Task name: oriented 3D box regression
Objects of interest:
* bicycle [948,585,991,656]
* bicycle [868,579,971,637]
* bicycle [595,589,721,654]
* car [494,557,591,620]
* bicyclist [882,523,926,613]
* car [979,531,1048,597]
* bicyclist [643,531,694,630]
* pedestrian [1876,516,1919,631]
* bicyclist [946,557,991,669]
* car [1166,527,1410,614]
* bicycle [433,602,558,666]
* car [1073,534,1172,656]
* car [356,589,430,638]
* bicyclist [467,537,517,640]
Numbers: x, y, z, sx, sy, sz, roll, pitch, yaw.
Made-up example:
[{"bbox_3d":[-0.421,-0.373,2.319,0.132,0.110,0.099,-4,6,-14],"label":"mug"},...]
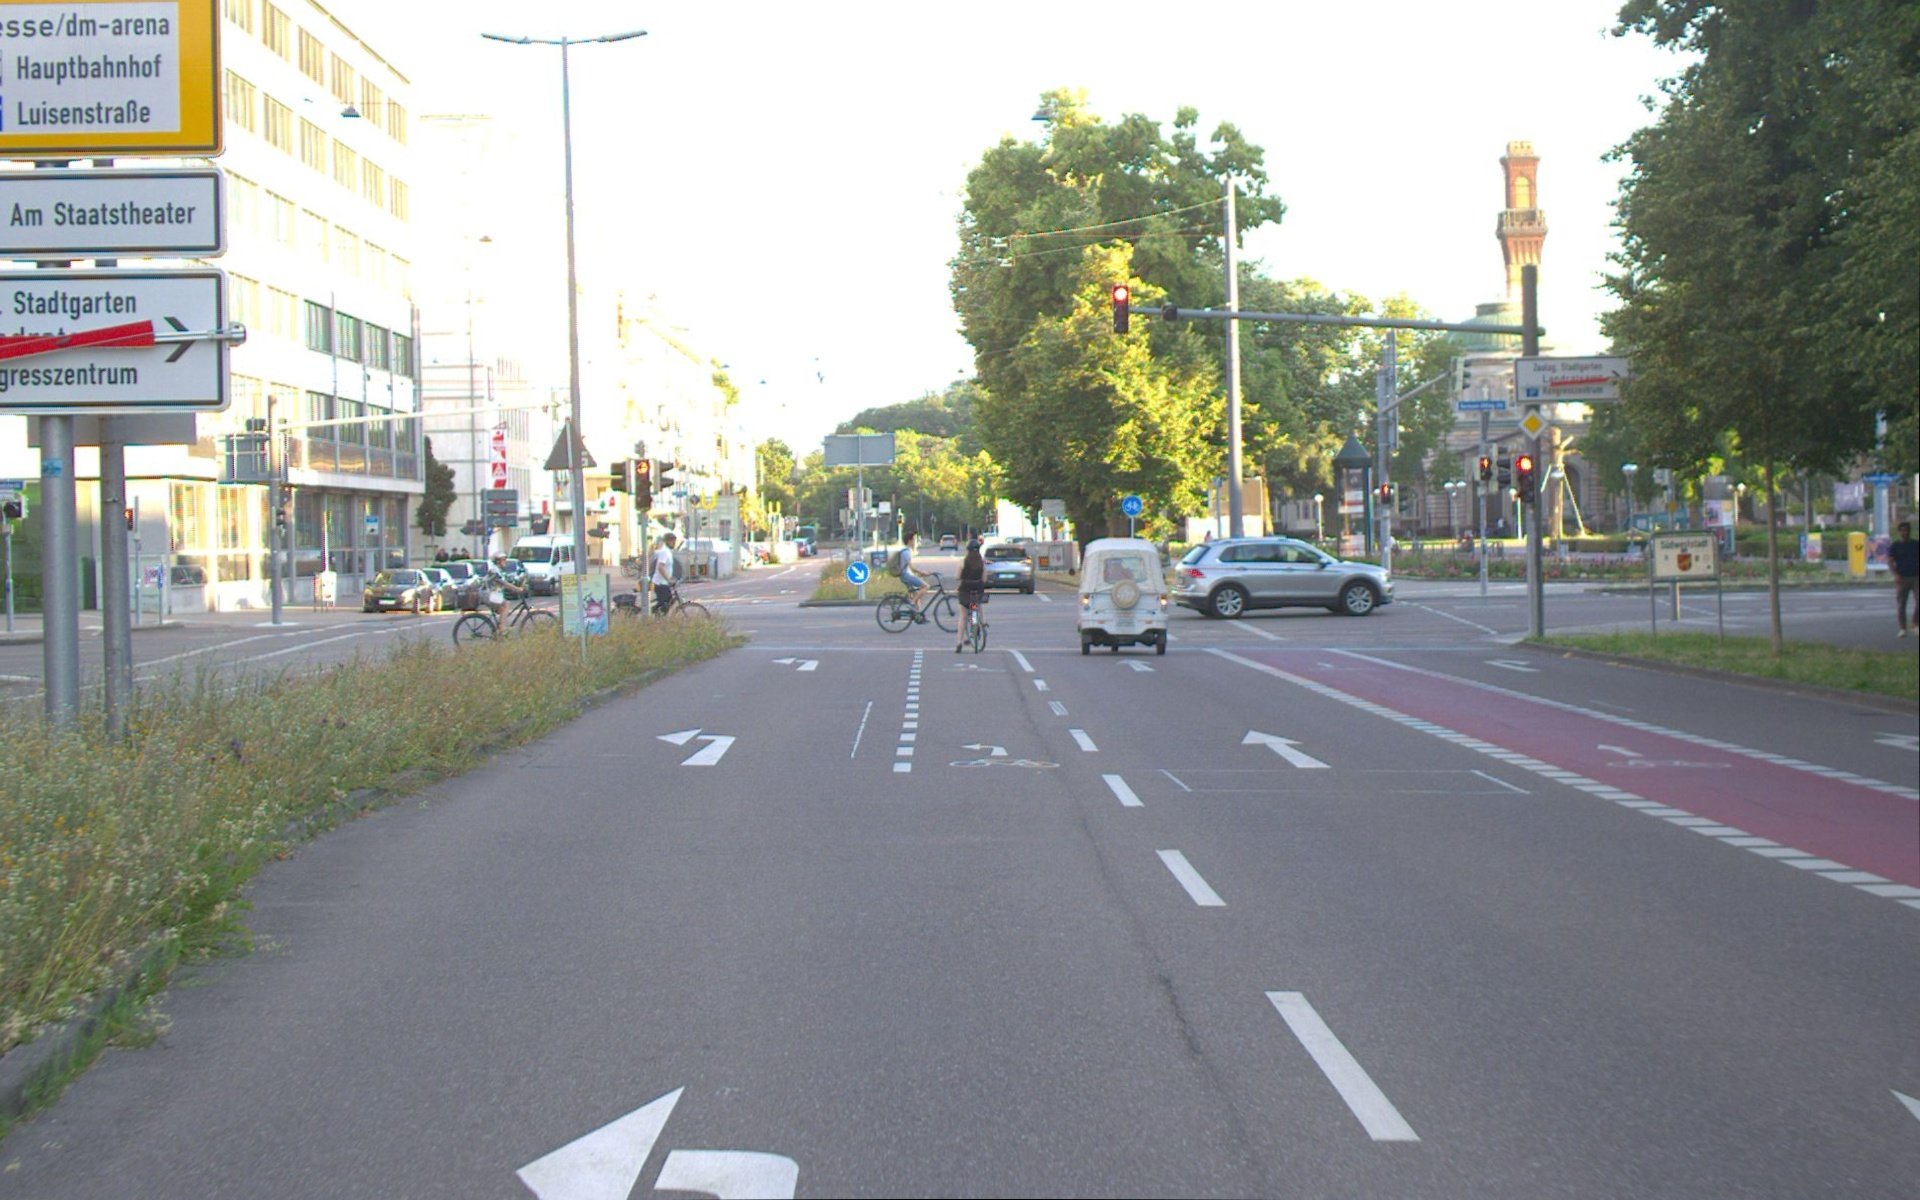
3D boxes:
[{"bbox_3d":[0.138,0.307,53.164,0.637,1.065,2.069,0,1,-1],"label":"bicycle"},{"bbox_3d":[-0.756,0.144,64.968,1.897,1.065,0.731,-1,0,3],"label":"bicycle"},{"bbox_3d":[-5.193,0.368,59.232,2.058,1.065,0.787,-1,0,2],"label":"bicycle"},{"bbox_3d":[-17.185,-0.457,141.880,2.177,2.377,5.986,-2,-2,11],"label":"car"},{"bbox_3d":[-1.053,-0.606,64.983,0.746,1.687,0.715,-2,0,3],"label":"bicyclist"},{"bbox_3d":[1.675,-1.144,108.913,1.993,2.007,4.000,-2,1,-1],"label":"car"},{"bbox_3d":[-5.021,-0.337,59.232,0.746,1.687,0.765,-2,0,2],"label":"bicyclist"},{"bbox_3d":[14.124,-0.394,51.217,0.695,1.687,0.748,-2,0,-2],"label":"pedestrian"},{"bbox_3d":[0.125,0.200,52.848,0.628,1.687,0.748,-2,0,-1],"label":"bicyclist"},{"bbox_3d":[6.627,-0.605,69.712,4.532,1.642,2.000,-2,1,-8],"label":"car"},{"bbox_3d":[-7.732,0.571,57.271,2.015,1.065,0.731,0,-1,-3],"label":"bicycle"},{"bbox_3d":[2.468,-0.100,52.582,1.459,1.774,2.564,-1,2,2],"label":"car"},{"bbox_3d":[-18.508,0.456,112.279,1.796,1.470,4.000,-2,-2,-1],"label":"car"},{"bbox_3d":[-7.794,-0.199,57.288,0.746,1.687,0.715,-2,0,-4],"label":"bicyclist"}]
